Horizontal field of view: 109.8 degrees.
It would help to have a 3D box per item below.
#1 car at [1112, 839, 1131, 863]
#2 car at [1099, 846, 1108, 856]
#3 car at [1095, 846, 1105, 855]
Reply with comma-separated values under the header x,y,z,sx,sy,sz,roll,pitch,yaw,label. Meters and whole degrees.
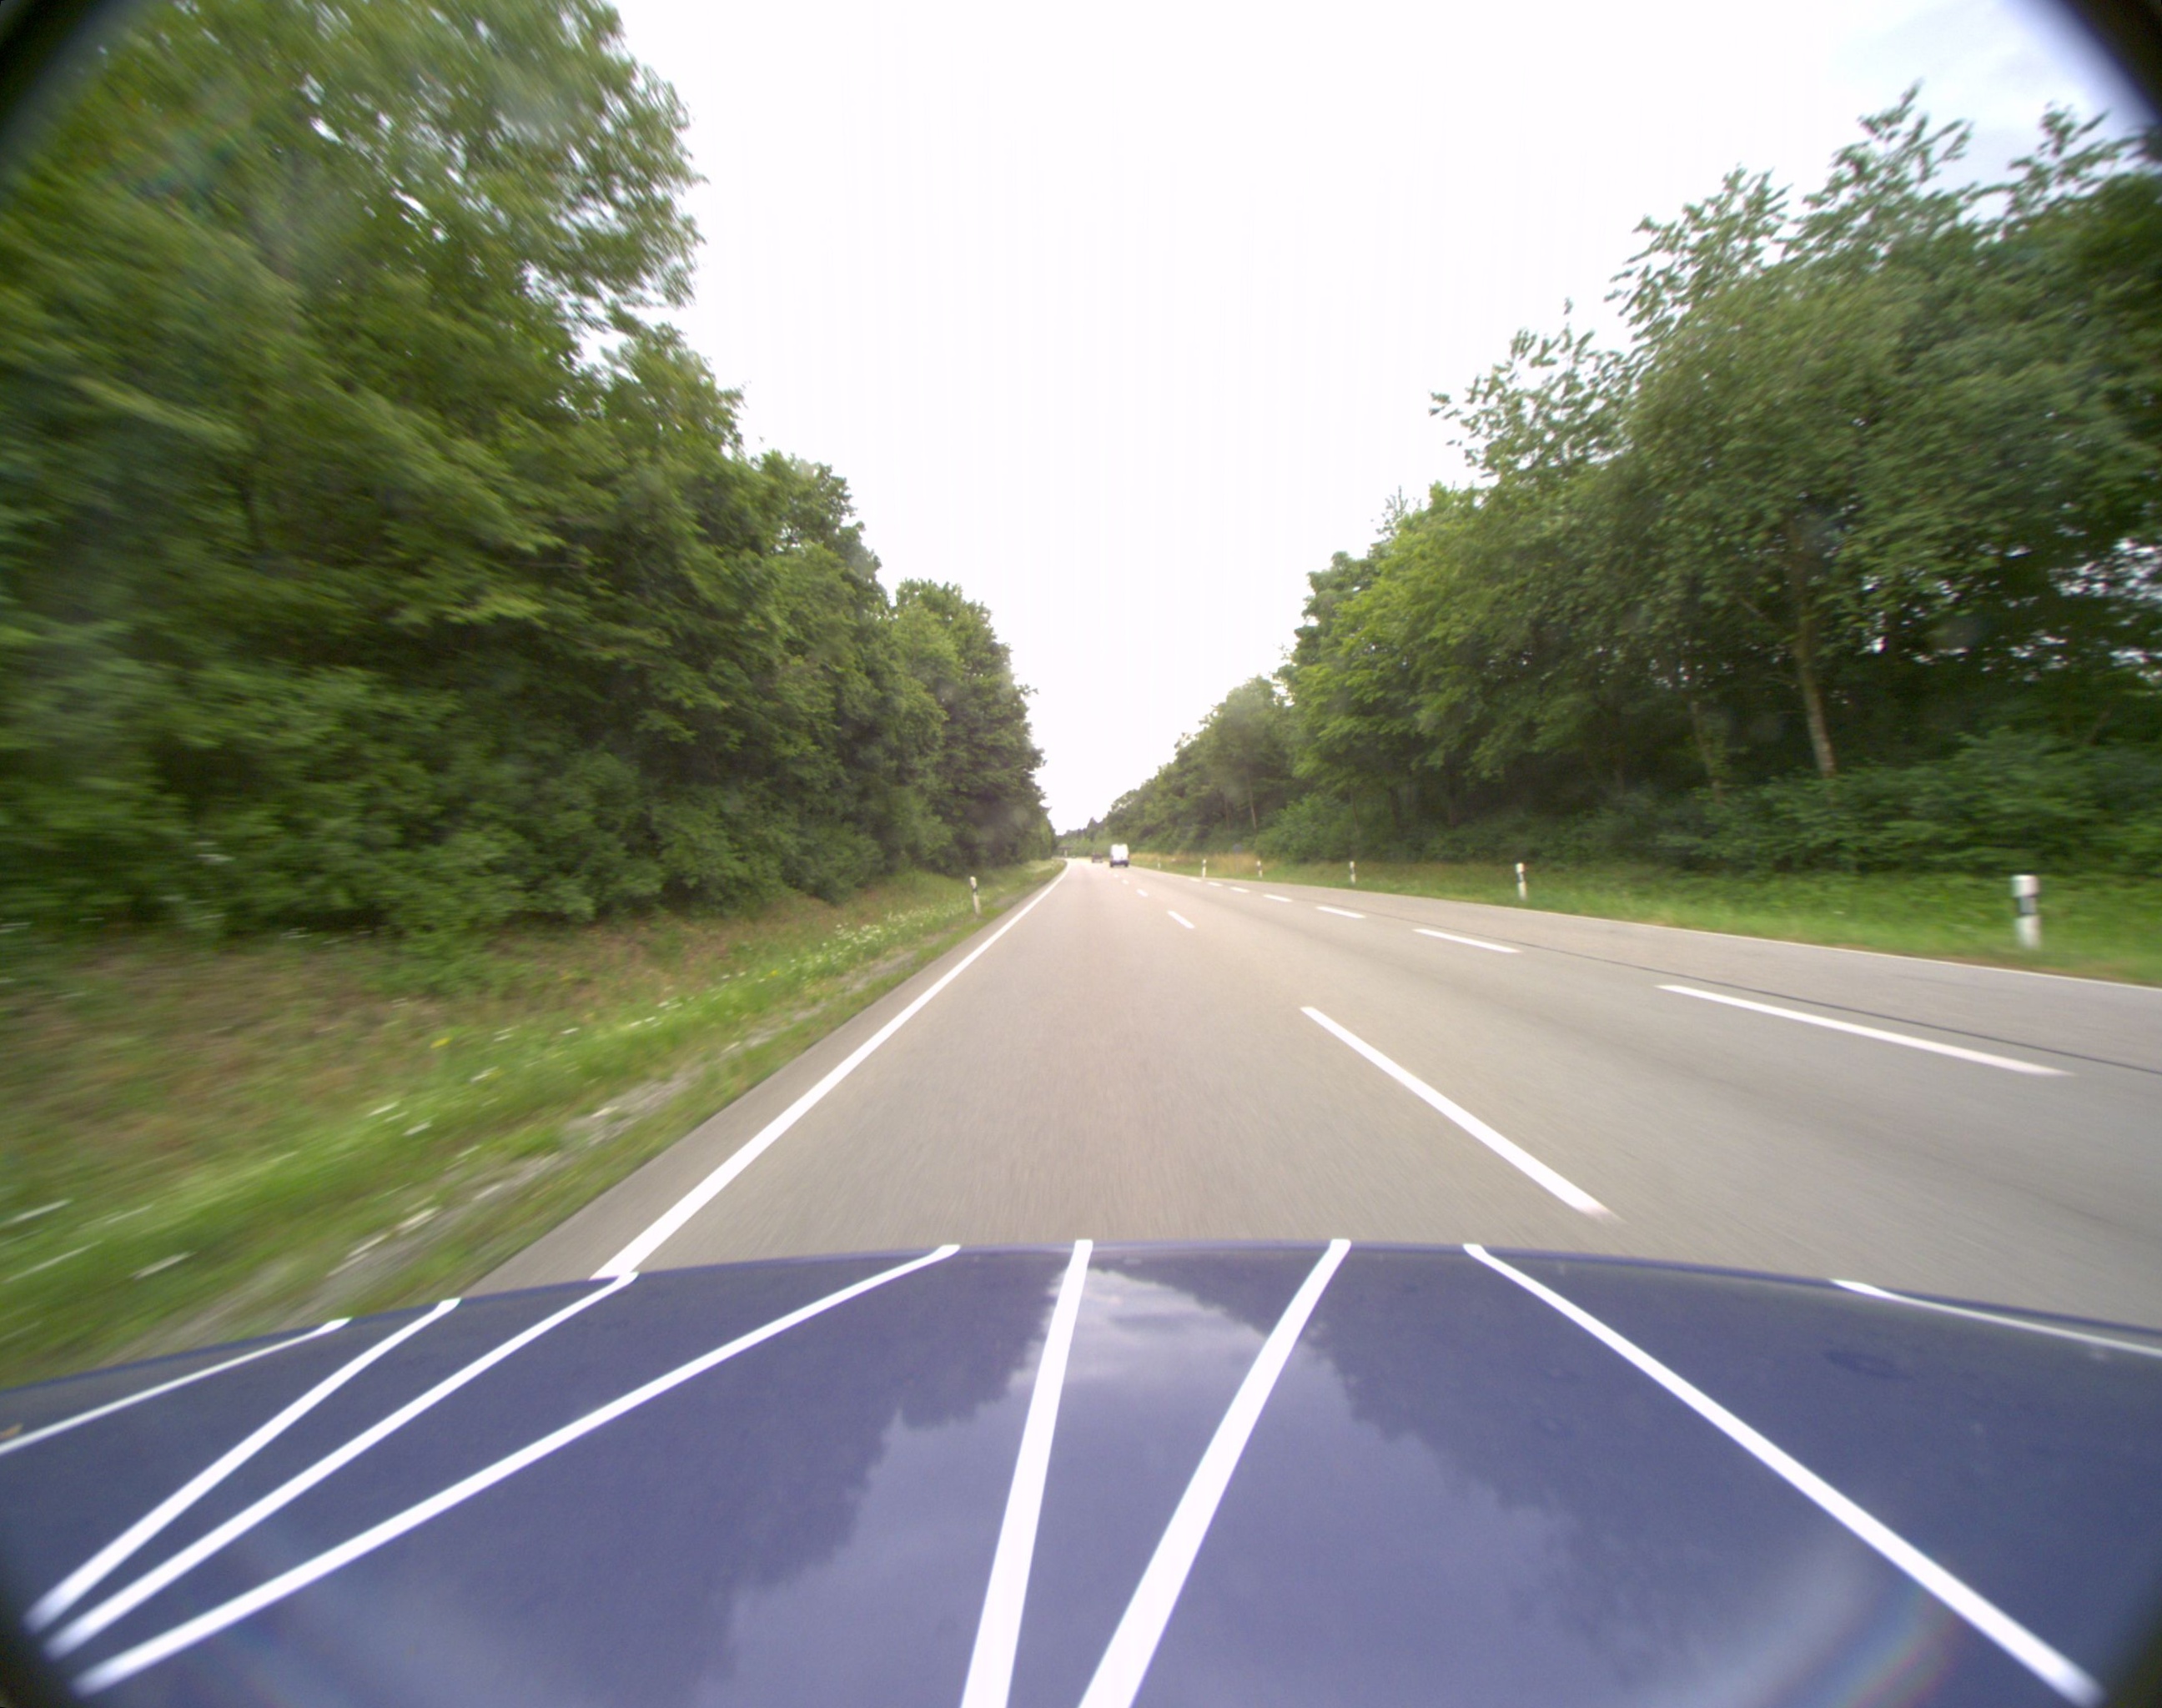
x,y,z,sx,sy,sz,roll,pitch,yaw,label
4.731,-0.404,89.458,1.998,2.681,5.977,-2,1,1,car
4.152,-0.567,141.161,1.608,1.699,3.476,-2,1,1,car
3.669,-0.610,147.621,1.768,1.699,3.653,-2,1,1,car
